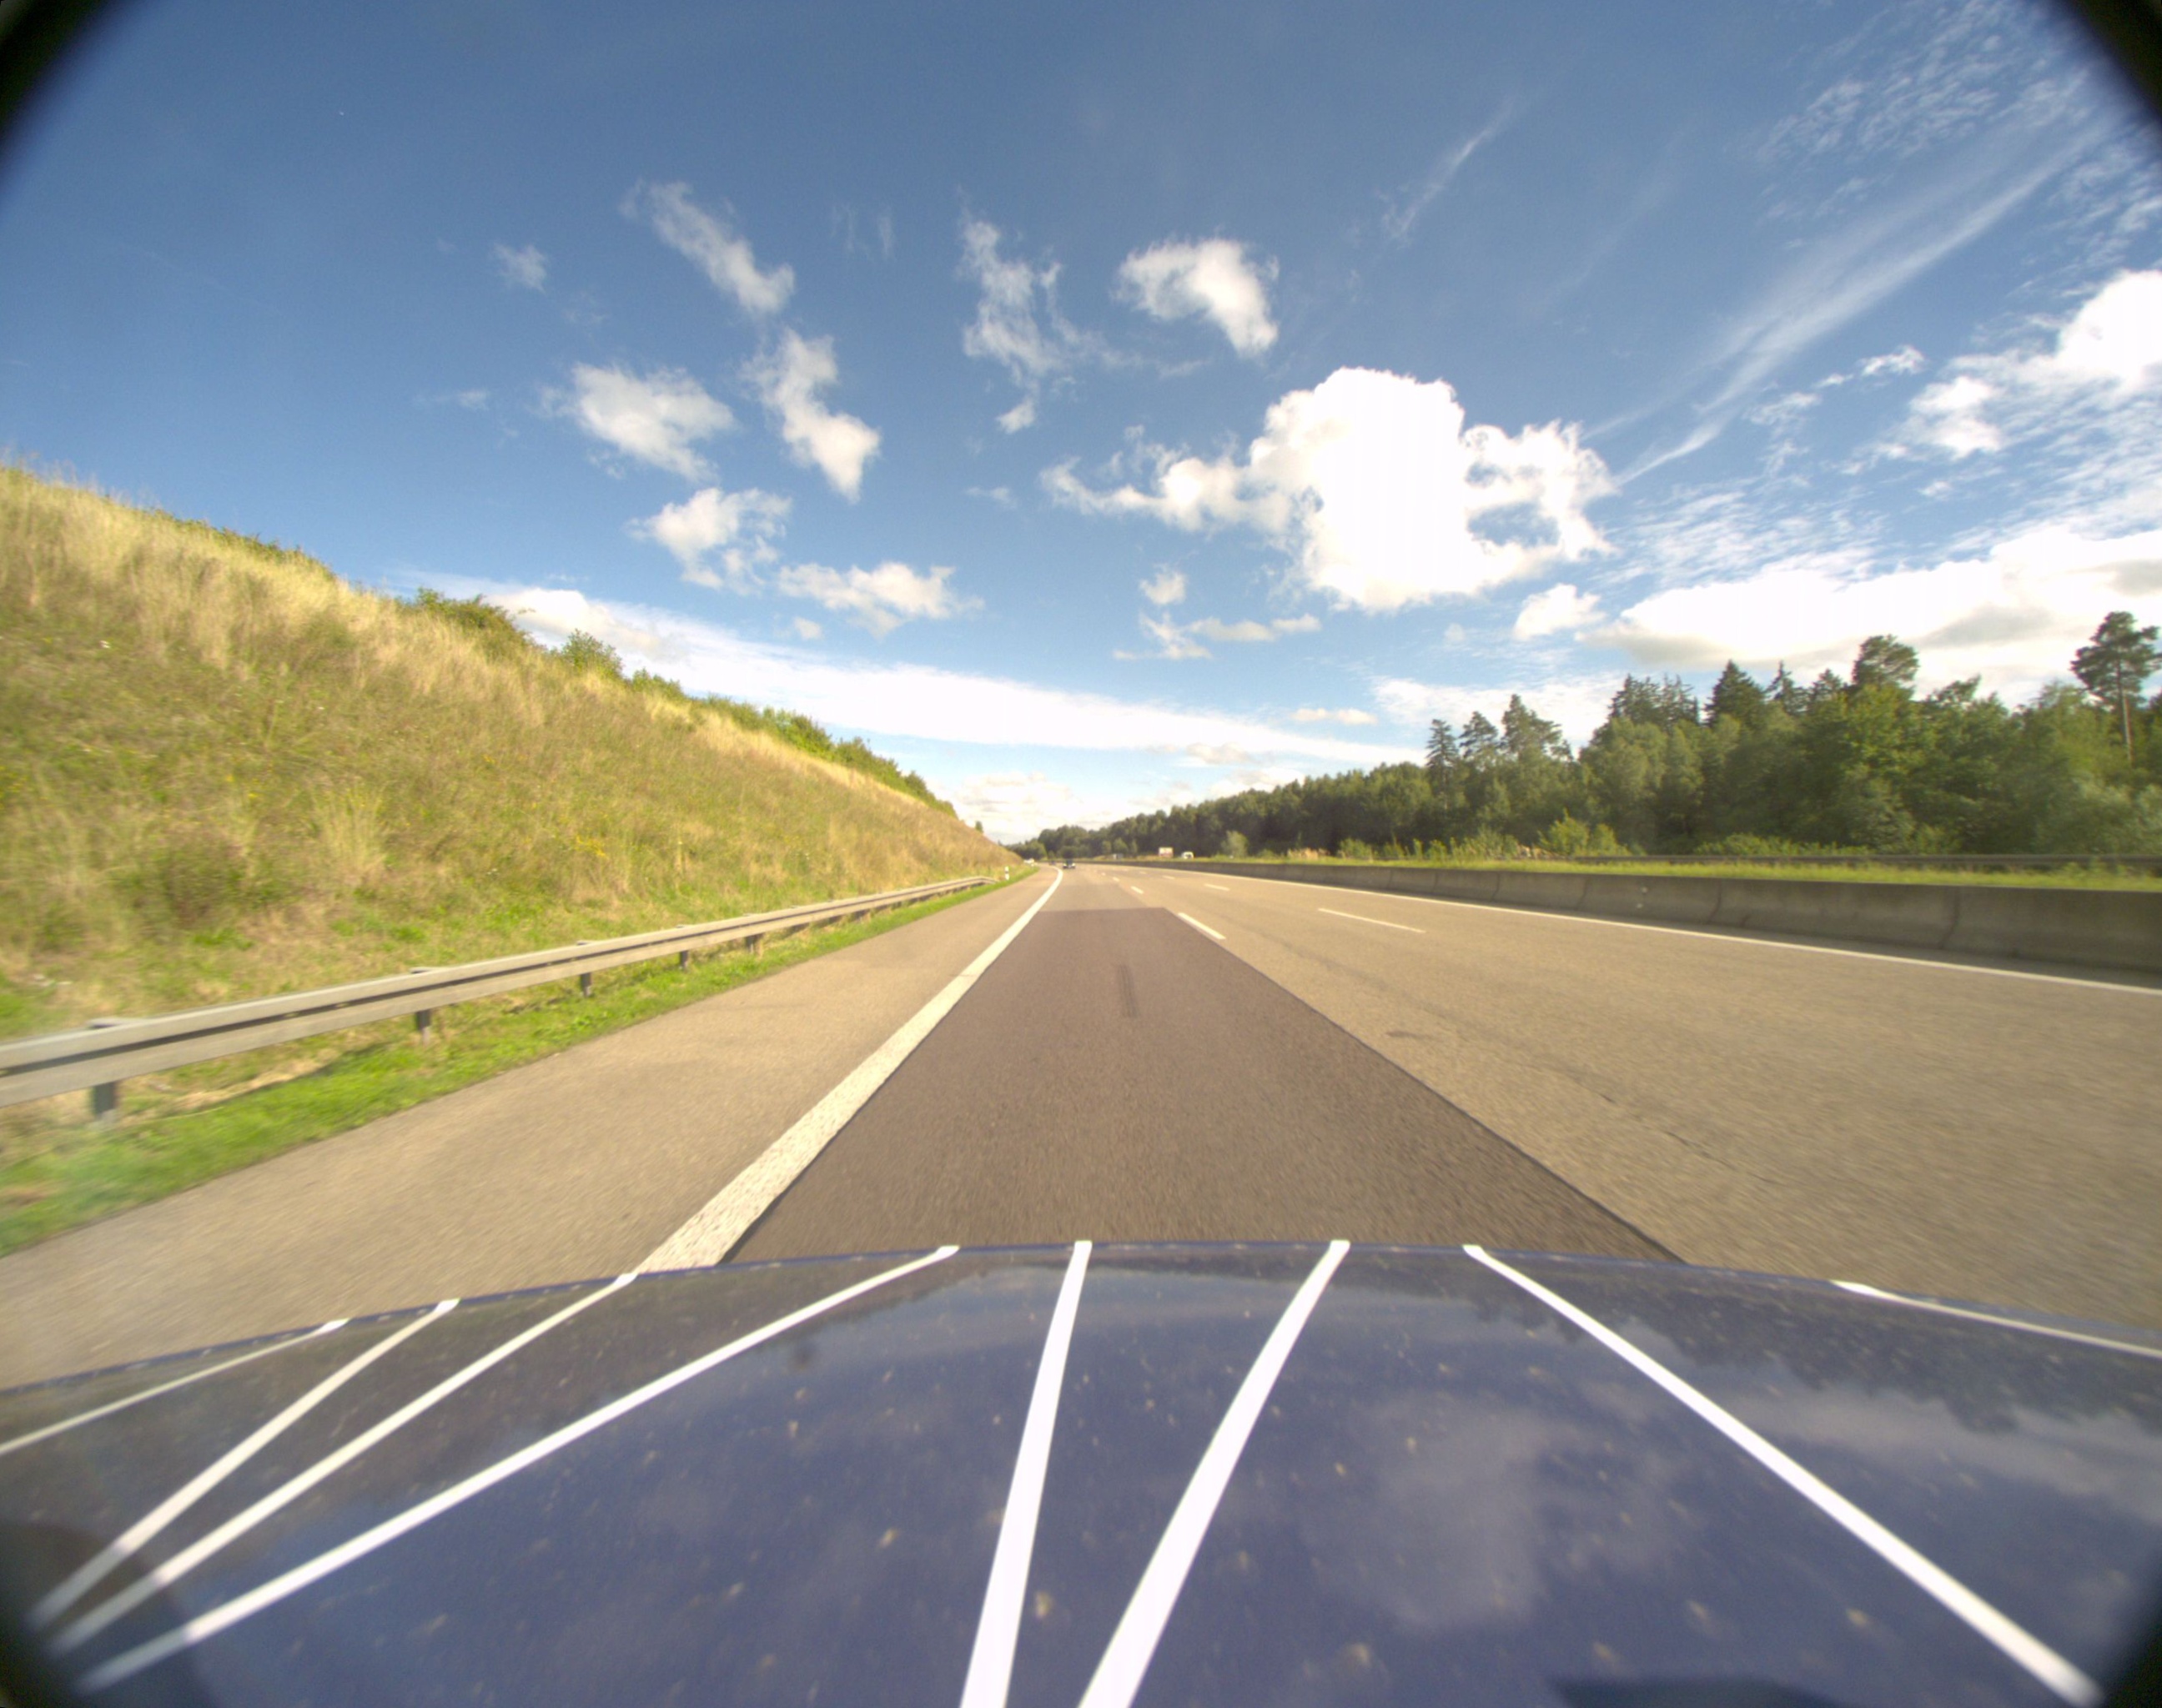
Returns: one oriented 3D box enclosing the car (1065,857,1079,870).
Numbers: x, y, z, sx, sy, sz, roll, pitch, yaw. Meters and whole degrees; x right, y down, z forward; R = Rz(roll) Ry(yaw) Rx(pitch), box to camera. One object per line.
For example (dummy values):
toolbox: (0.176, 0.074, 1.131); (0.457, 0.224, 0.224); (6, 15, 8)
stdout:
car: (-1.458, 1.430, 117.459); (1.999, 1.827, 3.998); (-2, 1, -3)

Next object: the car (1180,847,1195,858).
car: (20.484, -0.305, 146.294); (1.999, 2.002, 5.386); (-2, 0, -1)

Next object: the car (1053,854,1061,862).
car: (-6.589, 1.128, 208.453); (1.999, 2.002, 3.997); (-3, 1, -6)

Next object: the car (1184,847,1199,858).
car: (20.527, -0.309, 141.601); (1.999, 2.002, 5.386); (-2, 0, -1)
